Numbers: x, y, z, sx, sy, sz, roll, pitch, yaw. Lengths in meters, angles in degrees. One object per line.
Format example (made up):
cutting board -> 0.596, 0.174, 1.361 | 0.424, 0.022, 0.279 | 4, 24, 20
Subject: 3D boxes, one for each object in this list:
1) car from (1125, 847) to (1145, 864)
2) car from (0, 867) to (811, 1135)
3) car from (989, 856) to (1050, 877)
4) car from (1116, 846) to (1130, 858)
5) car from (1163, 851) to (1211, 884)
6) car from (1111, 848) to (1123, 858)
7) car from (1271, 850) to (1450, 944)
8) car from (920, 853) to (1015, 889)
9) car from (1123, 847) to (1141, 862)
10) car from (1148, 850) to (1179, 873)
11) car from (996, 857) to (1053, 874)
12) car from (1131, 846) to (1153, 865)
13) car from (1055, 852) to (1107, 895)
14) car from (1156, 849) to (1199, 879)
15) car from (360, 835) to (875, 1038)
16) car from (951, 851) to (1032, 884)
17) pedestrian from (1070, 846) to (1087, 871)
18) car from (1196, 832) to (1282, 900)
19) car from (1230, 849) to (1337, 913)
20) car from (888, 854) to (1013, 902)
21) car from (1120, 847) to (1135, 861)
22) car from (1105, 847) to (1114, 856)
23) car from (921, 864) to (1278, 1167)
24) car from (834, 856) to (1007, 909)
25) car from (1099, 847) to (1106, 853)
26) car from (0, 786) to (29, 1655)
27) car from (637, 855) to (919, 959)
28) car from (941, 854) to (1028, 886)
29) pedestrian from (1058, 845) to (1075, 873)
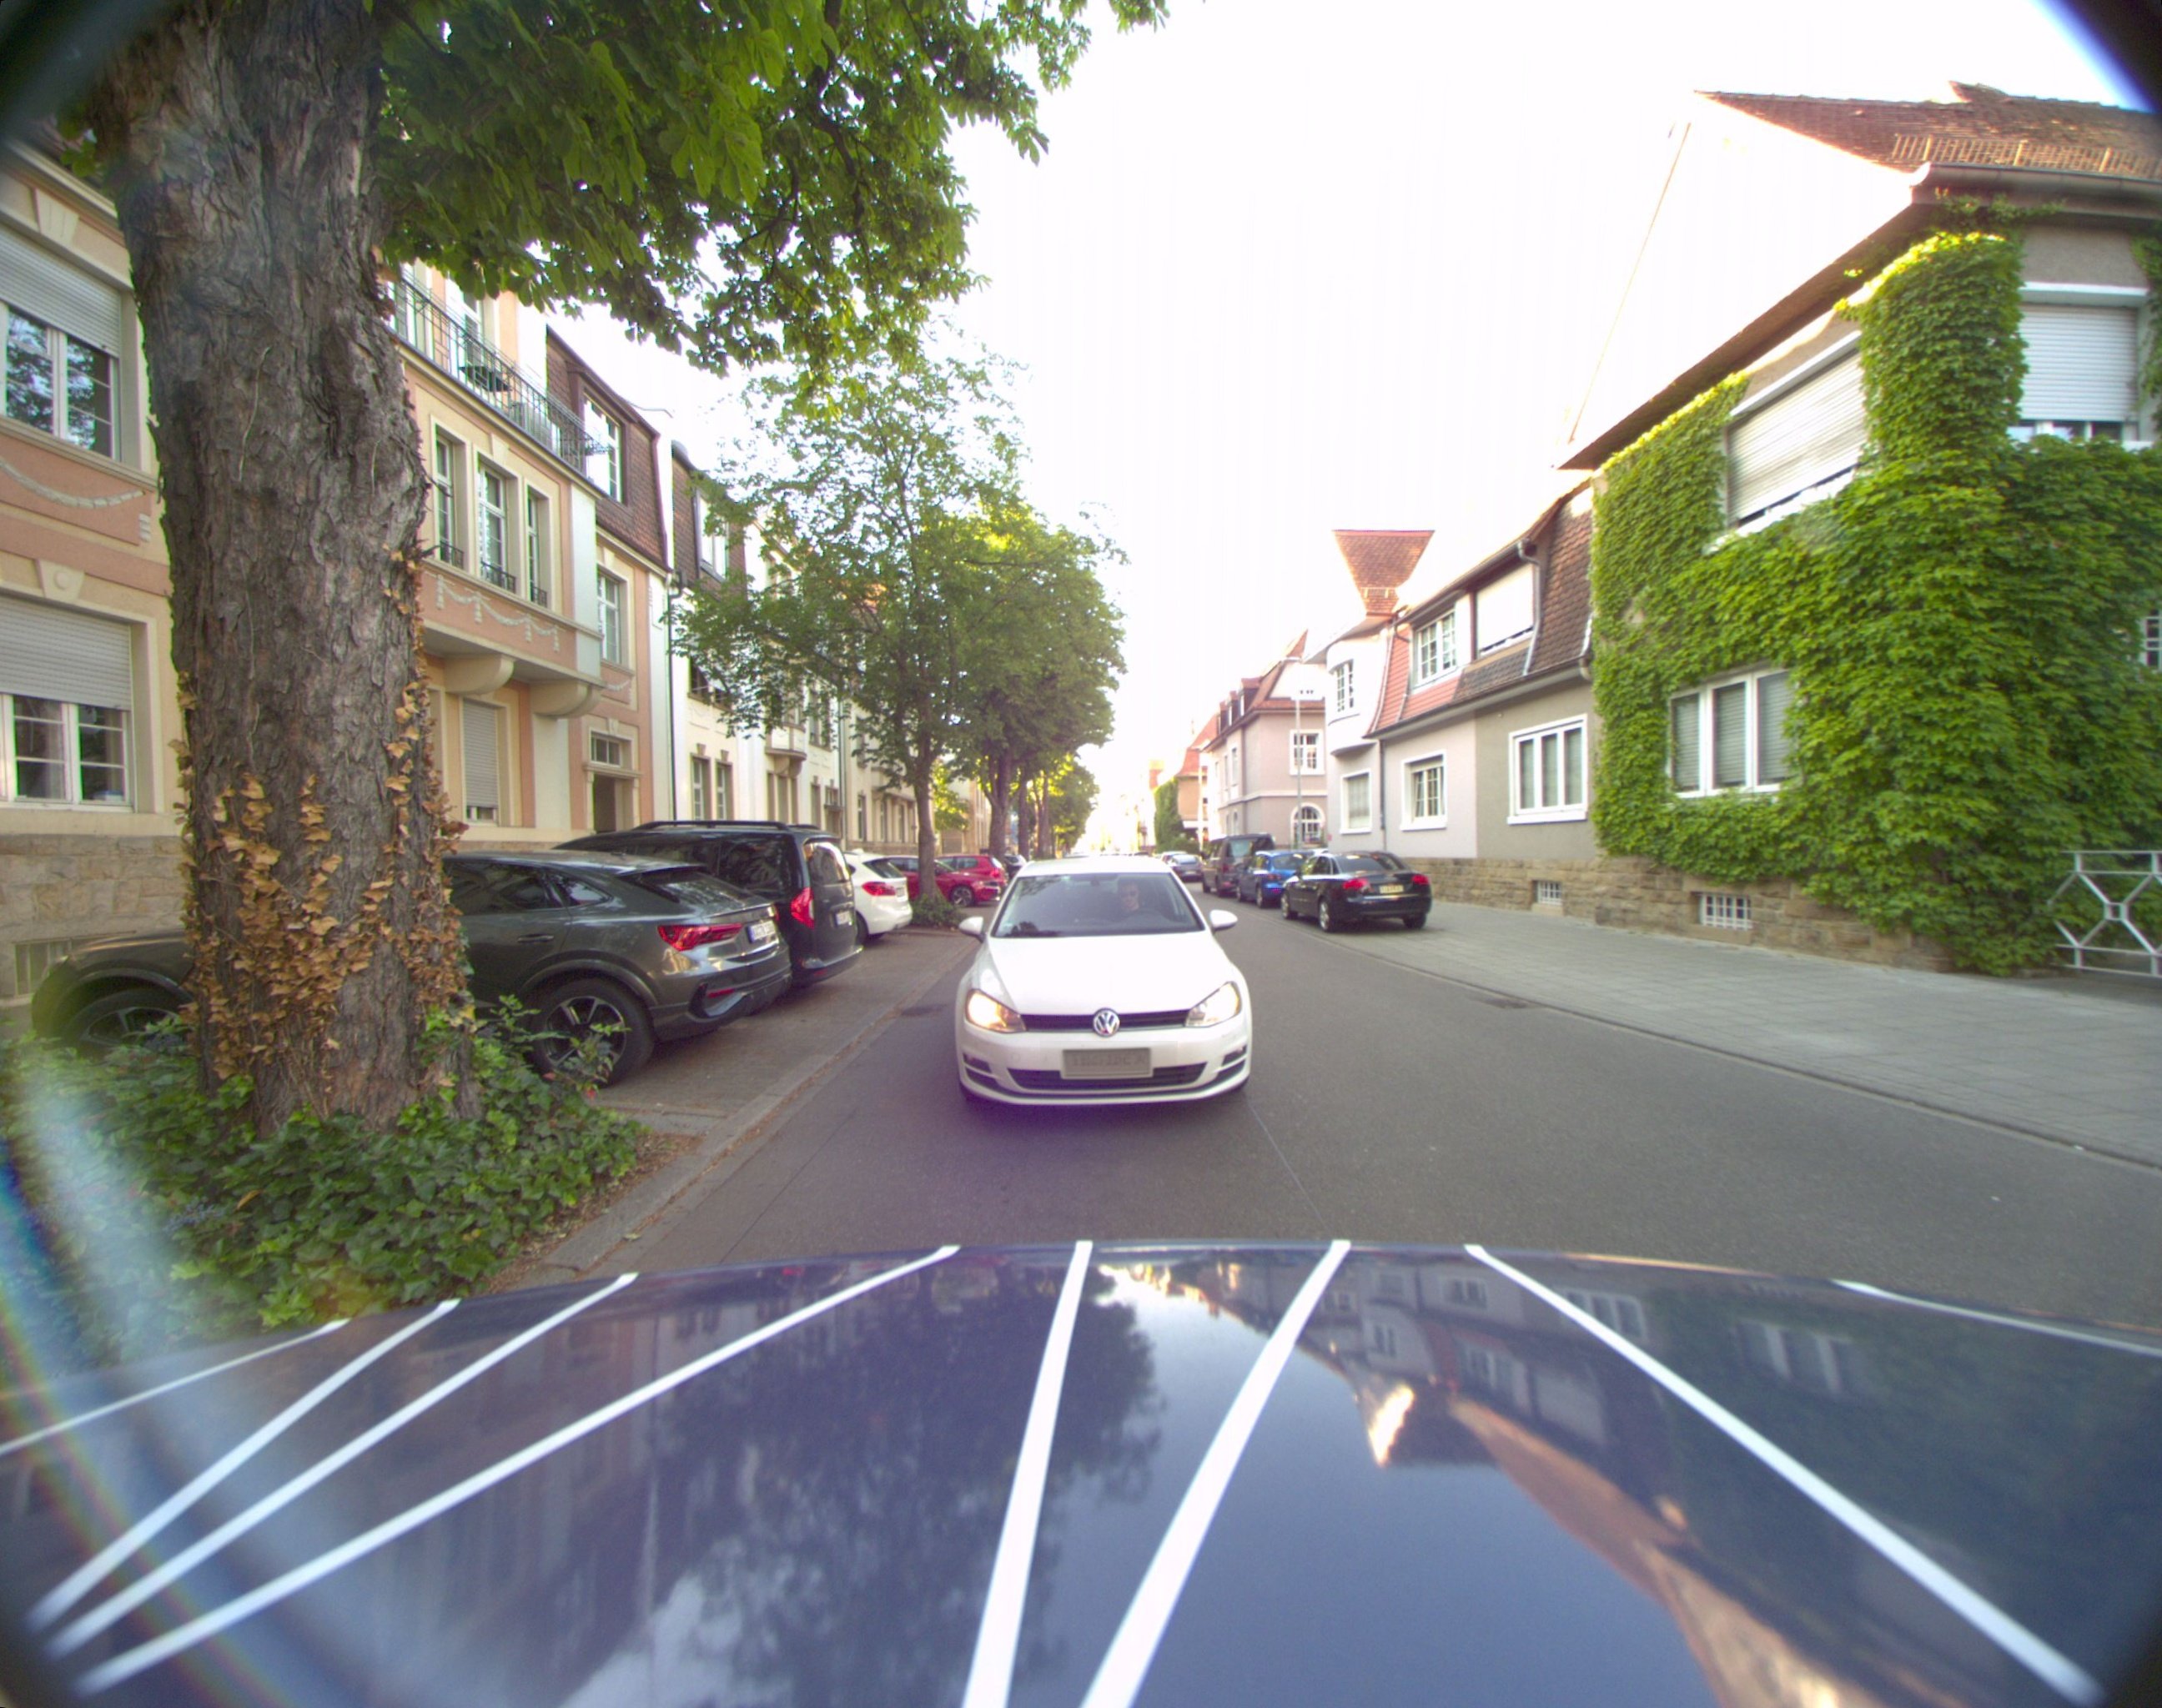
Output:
car -> 5.328, 0.115, 75.268 | 1.699, 1.520, 3.677 | -3, 1, 2
car -> -4.539, 0.886, 5.503 | 4.522, 1.514, 1.844 | 0, 1, -4
car -> -3.569, 0.726, 44.432 | 3.399, 1.143, 1.542 | 0, 1, 2
car -> 5.536, -0.250, 100.732 | 1.699, 1.520, 3.677 | -3, 1, 2
car -> 5.058, 0.594, 36.664 | 1.932, 1.376, 4.063 | -3, 1, 4
car -> 5.538, -0.165, 115.859 | 1.699, 1.520, 3.677 | -3, 1, 2
car -> 5.141, 0.697, 14.673 | 1.806, 1.438, 4.428 | -3, 1, 0
car -> -4.681, 0.707, 31.706 | 3.680, 1.458, 1.576 | 0, 1, 2
car -> 5.429, 0.056, 80.760 | 1.699, 1.520, 3.677 | -3, 1, 2
car -> 5.434, 0.470, 50.380 | 1.662, 1.354, 3.677 | -3, 1, 2
car -> -3.520, 0.719, 47.638 | 3.399, 1.057, 1.542 | 0, 1, 2
car -> 5.415, 0.148, 68.003 | 1.699, 1.558, 3.677 | -3, 1, 2
car -> 0.044, 0.698, 29.320 | 1.819, 1.454, 4.072 | -2, 0, 1
car -> 5.279, 0.503, 42.141 | 1.932, 1.458, 4.062 | -3, 1, 2
car -> -4.437, 0.735, 7.828 | 4.121, 1.827, 1.844 | 0, 1, -2
car -> -4.285, 0.620, 36.835 | 3.680, 1.548, 1.576 | 0, 1, 2
pedestrian -> -0.215, 0.370, 61.694 | 1.276, 1.927, 1.186 | -3, 1, -1
car -> 5.143, 0.353, 25.351 | 1.842, 1.964, 4.612 | -3, 1, 0
car -> 5.279, 0.645, 20.340 | 1.768, 1.438, 4.062 | -3, 1, 0
car -> -4.141, 0.748, 24.462 | 3.680, 1.473, 1.659 | 0, 1, 3
car -> 5.555, -0.051, 91.006 | 1.699, 1.520, 3.677 | -3, 1, 2
car -> 5.560, -0.481, 149.116 | 1.699, 1.520, 3.677 | -3, 1, 2
car -> 0.134, 0.879, 6.017 | 1.819, 1.454, 4.072 | -2, 0, 1
car -> -4.536, 0.796, 21.934 | 4.530, 1.443, 1.867 | 0, 1, 3
car -> 5.826, -1.005, 202.666 | 1.699, 1.520, 3.677 | -3, 1, 2
car -> -4.593, 0.768, 0.517 | 4.763, 1.864, 1.896 | 0, 1, -4
car -> -4.832, 0.814, 12.528 | 3.950, 1.568, 1.719 | 0, 1, 0
car -> -4.318, 0.710, 34.322 | 3.680, 1.390, 1.576 | 0, 1, 2
pedestrian -> -0.996, 0.353, 53.039 | 1.119, 1.927, 1.097 | -3, 1, -1
